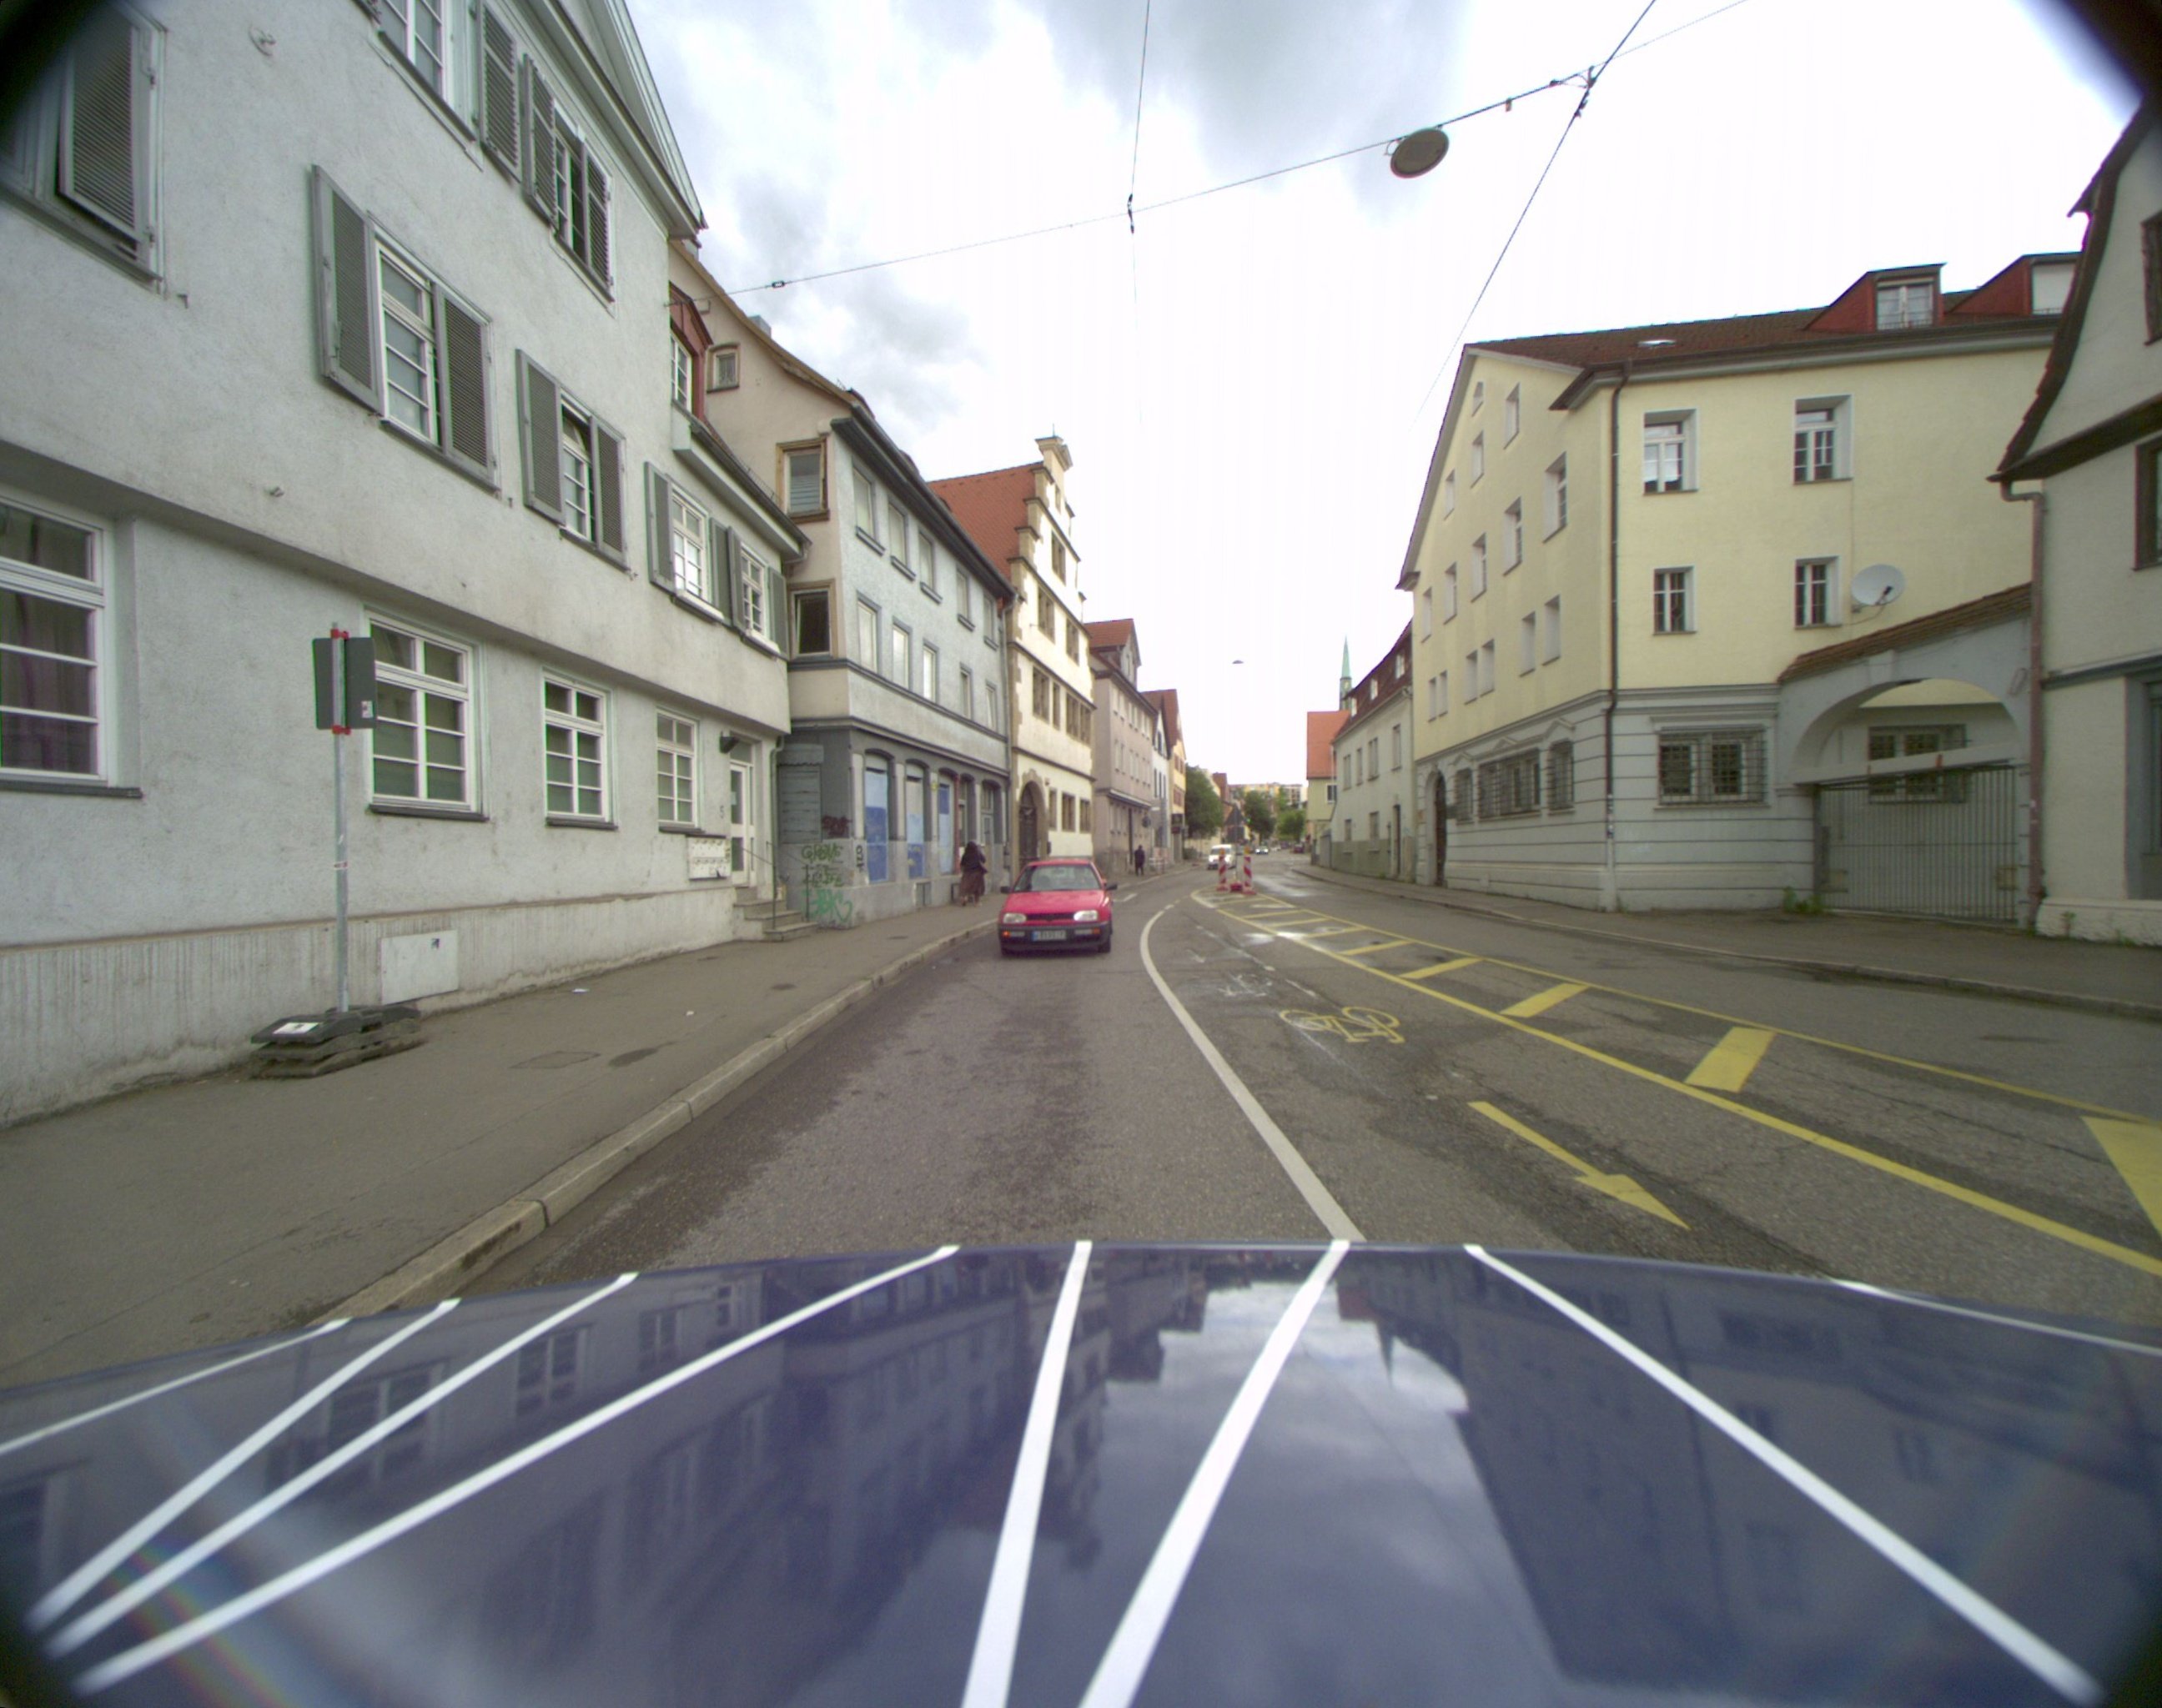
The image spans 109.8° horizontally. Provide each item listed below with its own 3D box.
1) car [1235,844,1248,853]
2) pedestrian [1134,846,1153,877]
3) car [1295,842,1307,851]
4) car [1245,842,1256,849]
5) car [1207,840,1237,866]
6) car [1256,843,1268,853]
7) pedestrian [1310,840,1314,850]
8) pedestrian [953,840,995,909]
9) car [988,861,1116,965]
[{"bbox_3d":[28.173,-0.931,133.651,2.031,1.546,4.004,0,1,14],"label":"car"},{"bbox_3d":[3.372,0.415,40.839,0.833,1.646,0.945,-1,0,15],"label":"pedestrian"},{"bbox_3d":[42.493,-1.488,146.844,2.210,1.668,4.502,0,1,14],"label":"car"},{"bbox_3d":[34.474,-1.660,154.259,1.819,1.380,4.005,0,1,17],"label":"car"},{"bbox_3d":[10.328,-0.102,55.431,1.996,1.777,4.471,0,2,13],"label":"car"},{"bbox_3d":[30.990,-1.084,130.027,1.996,1.669,4.004,-1,1,15],"label":"car"},{"bbox_3d":[45.130,-1.741,148.406,0.835,2.002,0.846,-1,0,13],"label":"pedestrian"},{"bbox_3d":[-2.668,0.510,18.935,0.756,1.658,0.810,2,1,11],"label":"pedestrian"},{"bbox_3d":[-0.316,0.859,12.741,1.685,1.418,4.022,-1,0,4],"label":"car"}]
